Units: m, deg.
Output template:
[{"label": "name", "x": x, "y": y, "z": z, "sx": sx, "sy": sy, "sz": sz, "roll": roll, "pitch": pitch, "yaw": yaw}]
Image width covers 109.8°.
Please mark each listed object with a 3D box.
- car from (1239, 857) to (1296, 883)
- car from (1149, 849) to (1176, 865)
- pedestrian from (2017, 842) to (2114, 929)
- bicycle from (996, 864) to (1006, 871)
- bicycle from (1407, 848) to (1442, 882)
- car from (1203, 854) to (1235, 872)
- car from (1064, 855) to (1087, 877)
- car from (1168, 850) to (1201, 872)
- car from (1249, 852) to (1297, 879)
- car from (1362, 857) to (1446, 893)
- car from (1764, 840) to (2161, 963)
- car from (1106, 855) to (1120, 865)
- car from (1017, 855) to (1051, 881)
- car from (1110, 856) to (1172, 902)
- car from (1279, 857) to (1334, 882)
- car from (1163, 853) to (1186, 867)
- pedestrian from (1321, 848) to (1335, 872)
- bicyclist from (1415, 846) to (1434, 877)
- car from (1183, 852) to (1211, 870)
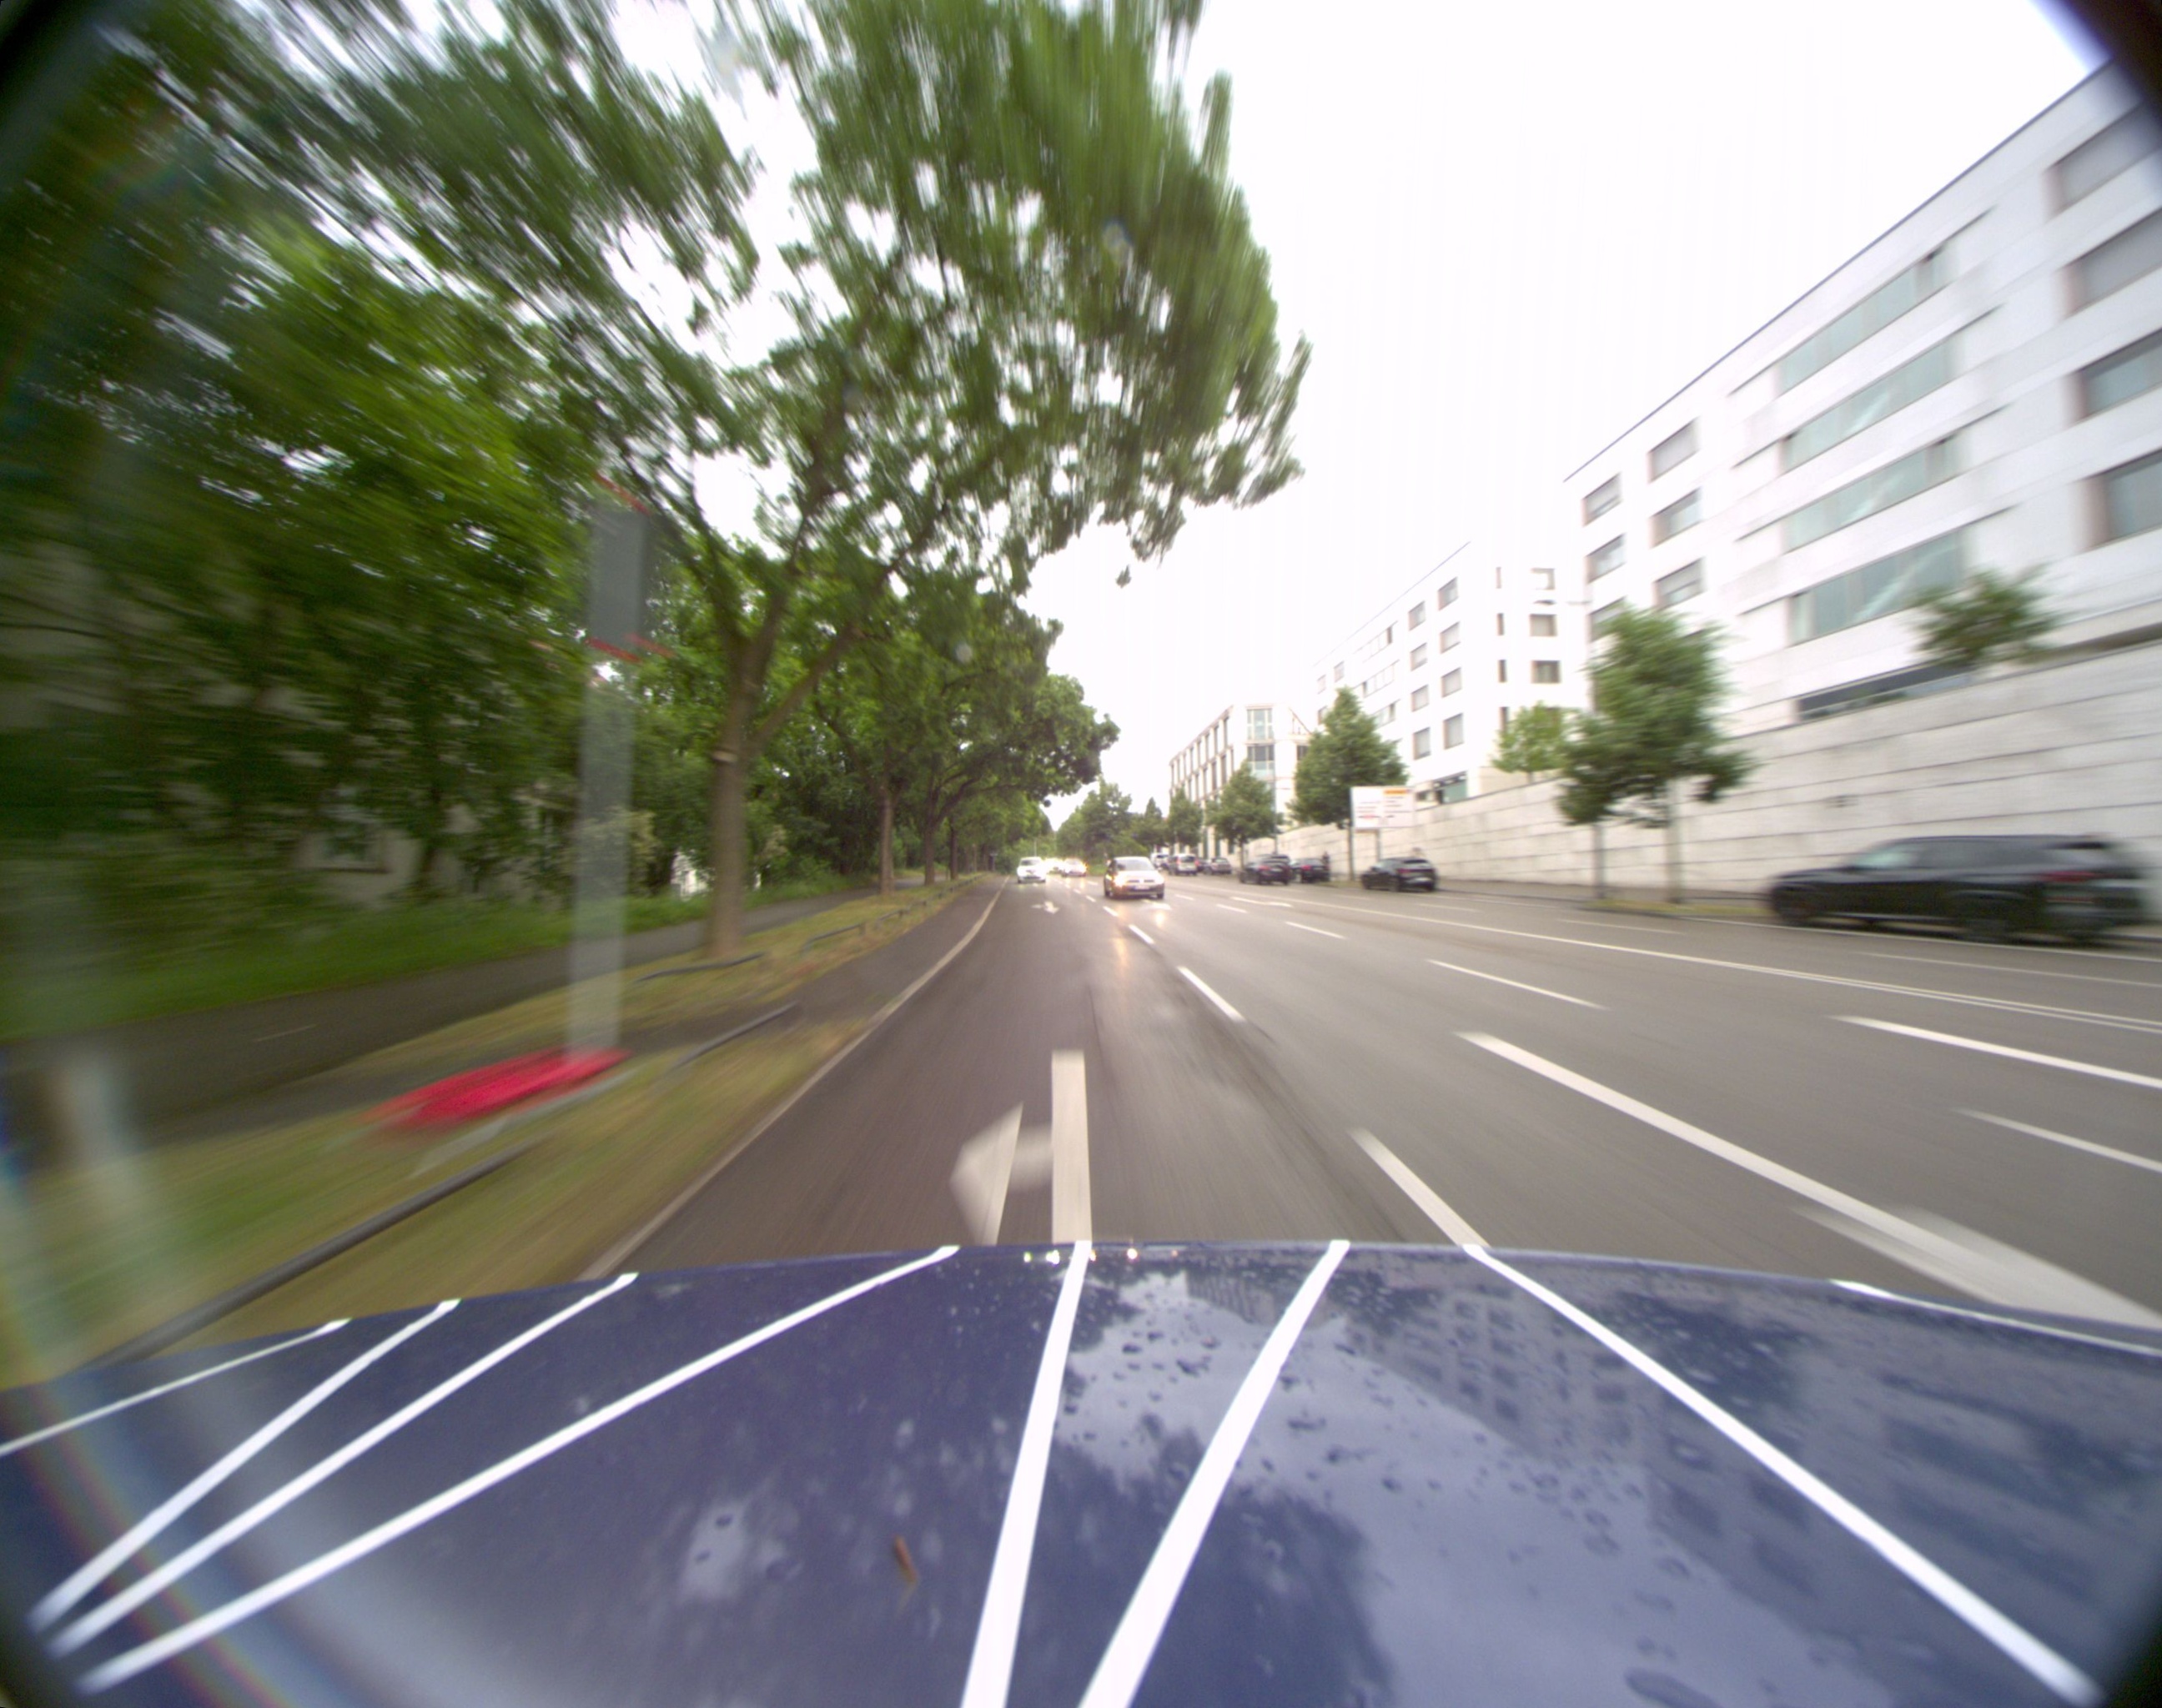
[{"label": "car", "x": 10.167, "y": 0.850, "z": 41.717, "sx": 1.775, "sy": 1.373, "sz": 4.188, "roll": 0, "pitch": 0, "yaw": -4}, {"label": "car", "x": 9.475, "y": 0.381, "z": 88.766, "sx": 2.128, "sy": 1.804, "sz": 5.259, "roll": -1, "pitch": -1, "yaw": -6}, {"label": "pedestrian", "x": 20.538, "y": 0.645, "z": 15.880, "sx": 0.710, "sy": 1.764, "sz": 1.021, "roll": 0, "pitch": 0, "yaw": -5}, {"label": "bicycle", "x": -13.444, "y": 2.335, "z": 127.345, "sx": 1.490, "sy": 1.124, "sz": 0.556, "roll": 3, "pitch": -2, "yaw": -11}, {"label": "bicycle", "x": 16.985, "y": 0.520, "z": 37.604, "sx": 0.745, "sy": 1.647, "sz": 1.879, "roll": -2, "pitch": 1, "yaw": -4}, {"label": "car", "x": 11.384, "y": 0.739, "z": 62.899, "sx": 1.700, "sy": 1.435, "sz": 3.859, "roll": -2, "pitch": -1, "yaw": -3}, {"label": "car", "x": -0.420, "y": 0.994, "z": 59.712, "sx": 1.670, "sy": 1.520, "sz": 3.659, "roll": -2, "pitch": -3, "yaw": 0}, {"label": "car", "x": 8.503, "y": 0.601, "z": 62.949, "sx": 1.715, "sy": 1.736, "sz": 4.336, "roll": 2, "pitch": -1, "yaw": -5}, {"label": "car", "x": 12.379, "y": 0.715, "z": 49.235, "sx": 1.708, "sy": 1.611, "sz": 4.360, "roll": 0, "pitch": 0, "yaw": -4}, {"label": "car", "x": 13.628, "y": 0.844, "z": 32.317, "sx": 1.684, "sy": 1.418, "sz": 3.964, "roll": -1, "pitch": 0, "yaw": -4}, {"label": "car", "x": 15.225, "y": 0.704, "z": 13.444, "sx": 1.862, "sy": 1.770, "sz": 4.594, "roll": -1, "pitch": 0, "yaw": -6}, {"label": "car", "x": 4.768, "y": 0.918, "z": 112.682, "sx": 1.646, "sy": 1.402, "sz": 3.997, "roll": 0, "pitch": -3, "yaw": -5}, {"label": "car", "x": -2.908, "y": 0.842, "z": 46.338, "sx": 1.646, "sy": 1.511, "sz": 3.576, "roll": -1, "pitch": 0, "yaw": -10}, {"label": "car", "x": 2.075, "y": 0.841, "z": 27.230, "sx": 1.904, "sy": 1.431, "sz": 4.000, "roll": -2, "pitch": 0, "yaw": 1}, {"label": "car", "x": 12.802, "y": 0.860, "z": 43.407, "sx": 1.700, "sy": 1.352, "sz": 4.162, "roll": 0, "pitch": -1, "yaw": -3}, {"label": "car", "x": 9.992, "y": 0.676, "z": 81.445, "sx": 1.700, "sy": 1.376, "sz": 3.697, "roll": -2, "pitch": -1, "yaw": -6}, {"label": "pedestrian", "x": 18.055, "y": 0.446, "z": 55.510, "sx": 0.720, "sy": 1.764, "sz": 0.691, "roll": -1, "pitch": -1, "yaw": -5}, {"label": "bicyclist", "x": 16.917, "y": 0.379, "z": 37.428, "sx": 0.578, "sy": 1.509, "sz": 0.769, "roll": 0, "pitch": 1, "yaw": -4}, {"label": "car", "x": 10.709, "y": 0.602, "z": 70.403, "sx": 1.700, "sy": 1.572, "sz": 4.015, "roll": -1, "pitch": 0, "yaw": -4}]
